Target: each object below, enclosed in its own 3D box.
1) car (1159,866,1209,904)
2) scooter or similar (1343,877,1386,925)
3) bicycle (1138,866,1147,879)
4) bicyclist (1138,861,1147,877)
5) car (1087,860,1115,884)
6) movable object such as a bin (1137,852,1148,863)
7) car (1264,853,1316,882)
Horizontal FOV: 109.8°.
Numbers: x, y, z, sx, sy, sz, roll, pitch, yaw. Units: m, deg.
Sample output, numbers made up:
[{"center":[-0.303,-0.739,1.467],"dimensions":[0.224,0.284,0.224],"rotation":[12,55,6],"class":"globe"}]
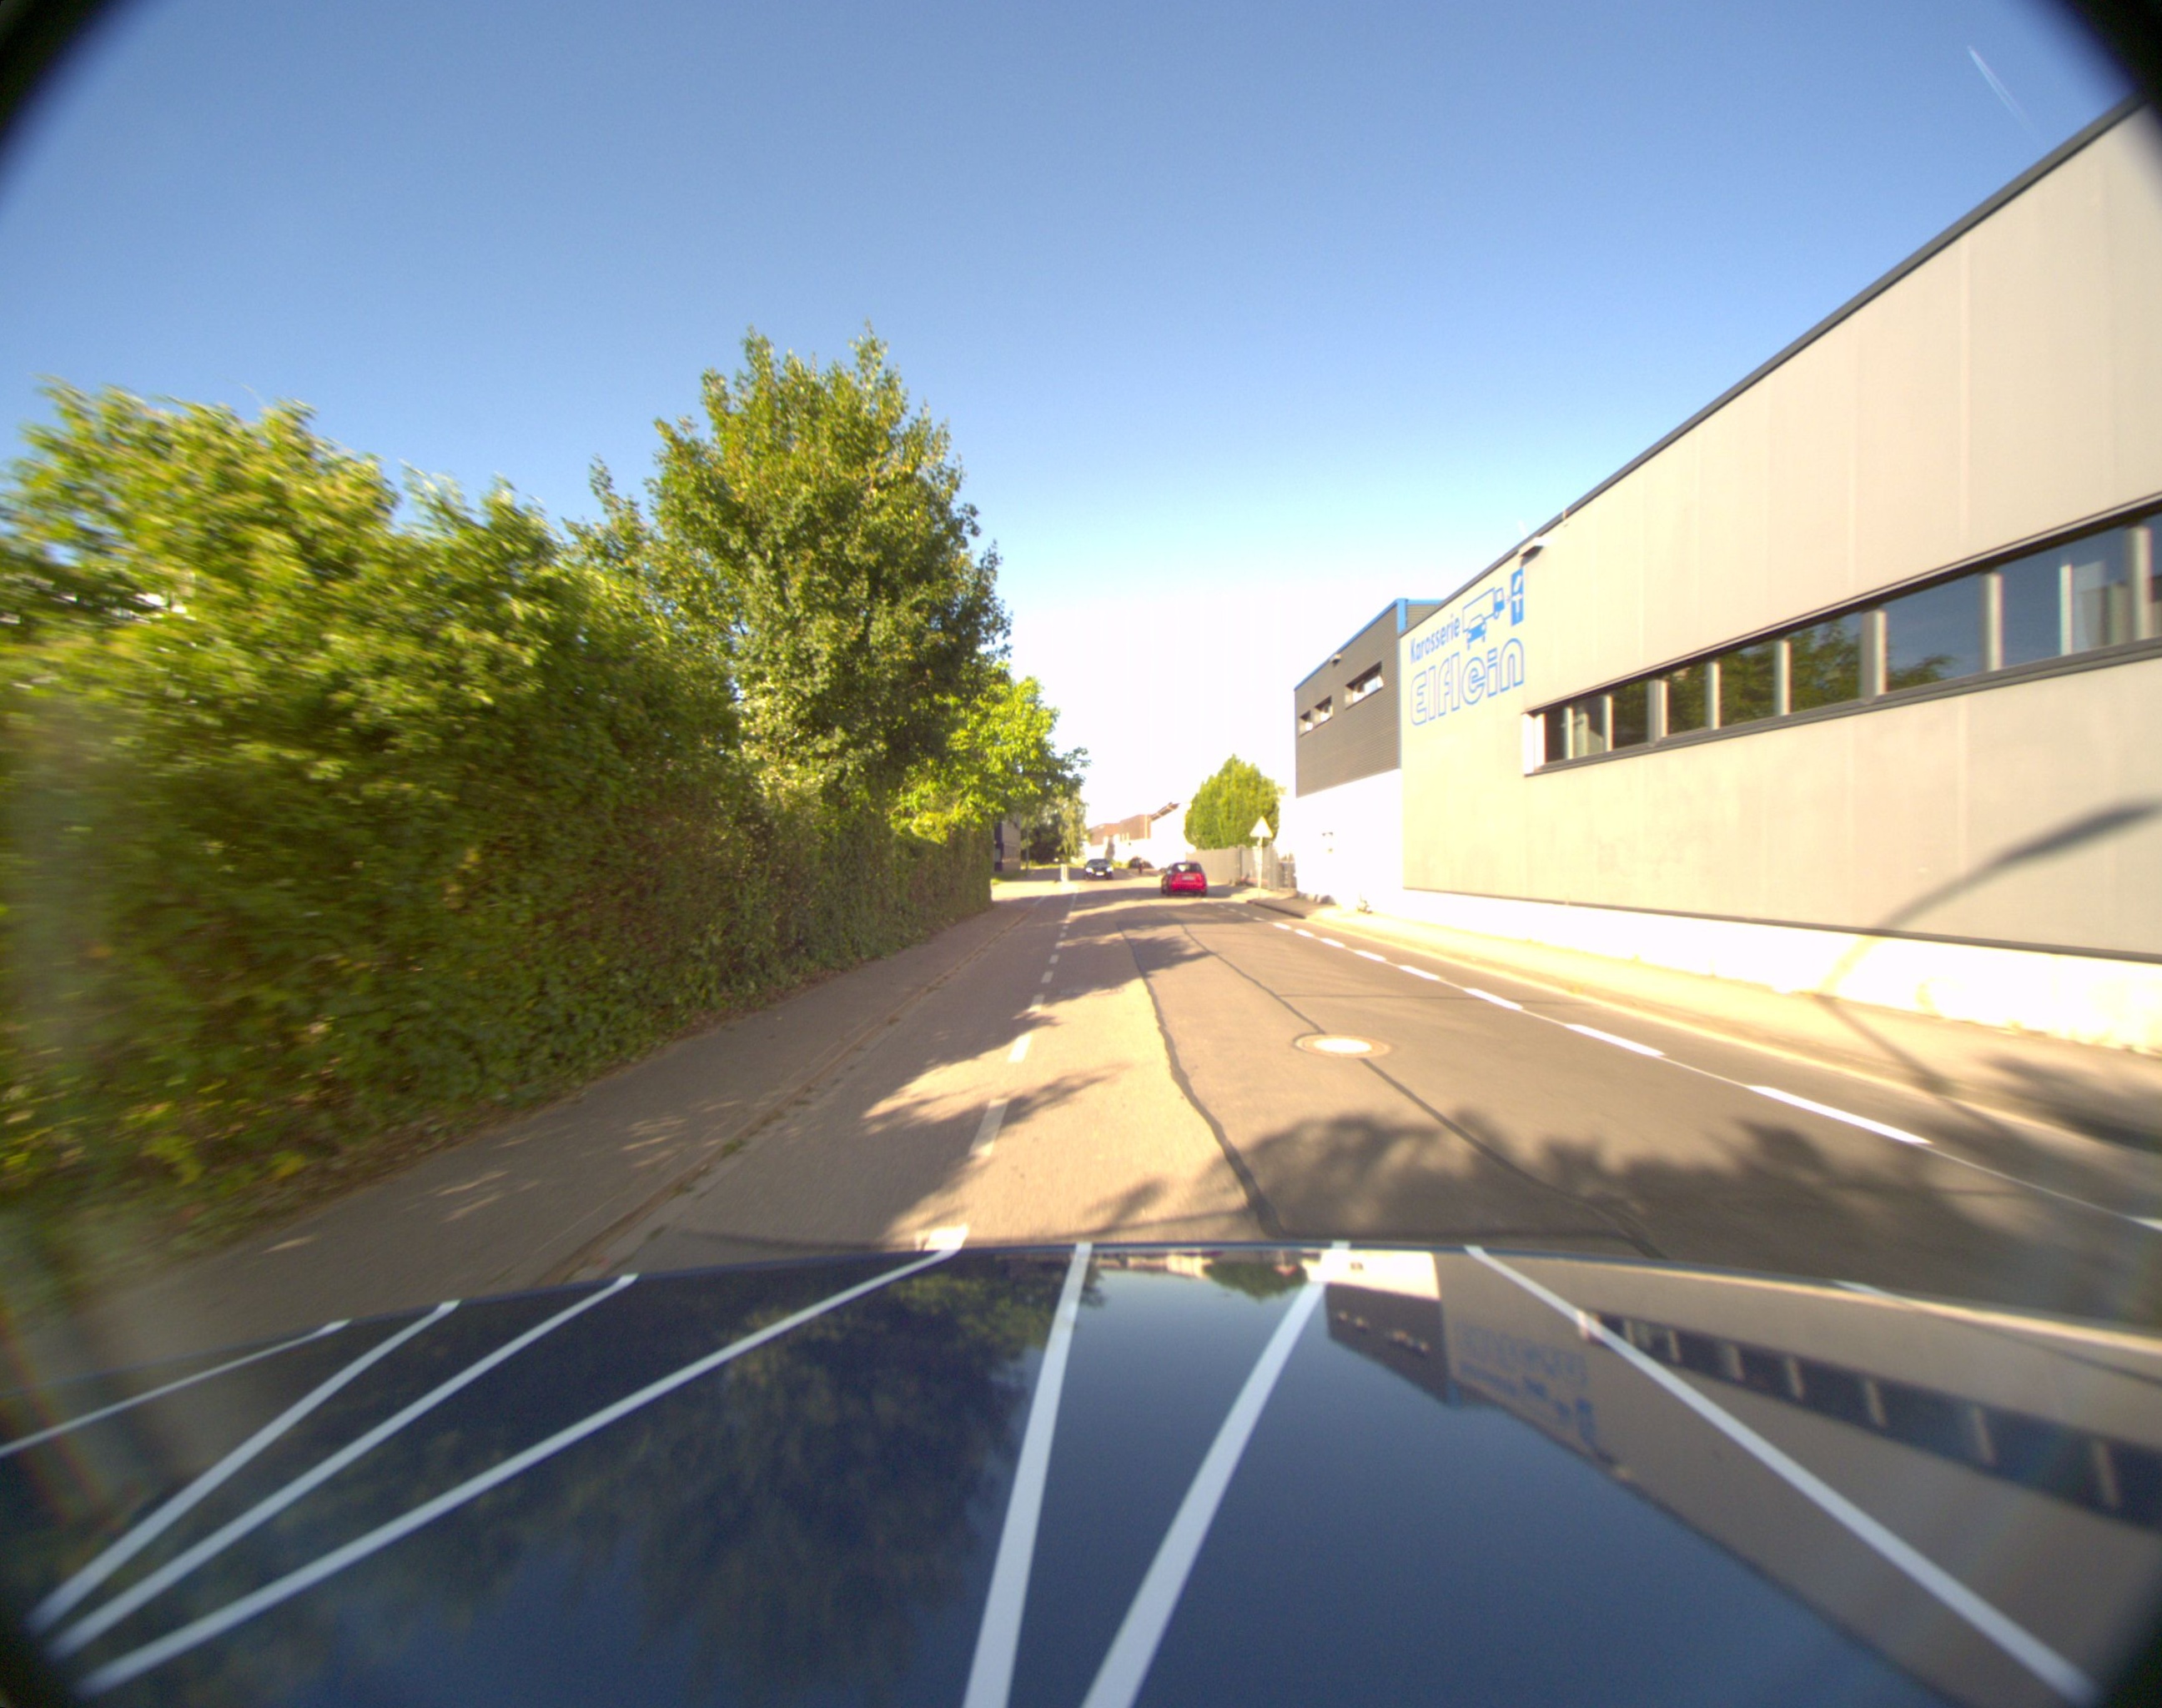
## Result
[{"center":[4.515,1.328,33.760],"dimensions":[1.724,1.530,4.076],"rotation":[2,-1,1],"class":"car"},{"center":[7.993,1.311,21.489],"dimensions":[0.508,1.196,1.753],"rotation":[-4,1,1],"class":"scooter or similar"},{"center":[6.131,1.816,75.775],"dimensions":[0.669,1.281,2.172],"rotation":[-1,0,-1],"class":"bicycle"},{"center":[6.116,1.484,75.770],"dimensions":[0.748,1.619,0.833],"rotation":[-1,1,-1],"class":"bicyclist"},{"center":[1.524,1.296,57.183],"dimensions":[2.036,1.623,4.613],"rotation":[-1,1,2],"class":"car"},{"center":[8.370,0.487,103.027],"dimensions":[1.203,1.463,1.371],"rotation":[-1,1,-10],"class":"movable object such as a bin"},{"center":[11.979,0.739,43.811],"dimensions":[1.874,1.531,3.999],"rotation":[0,0,-1],"class":"car"}]
